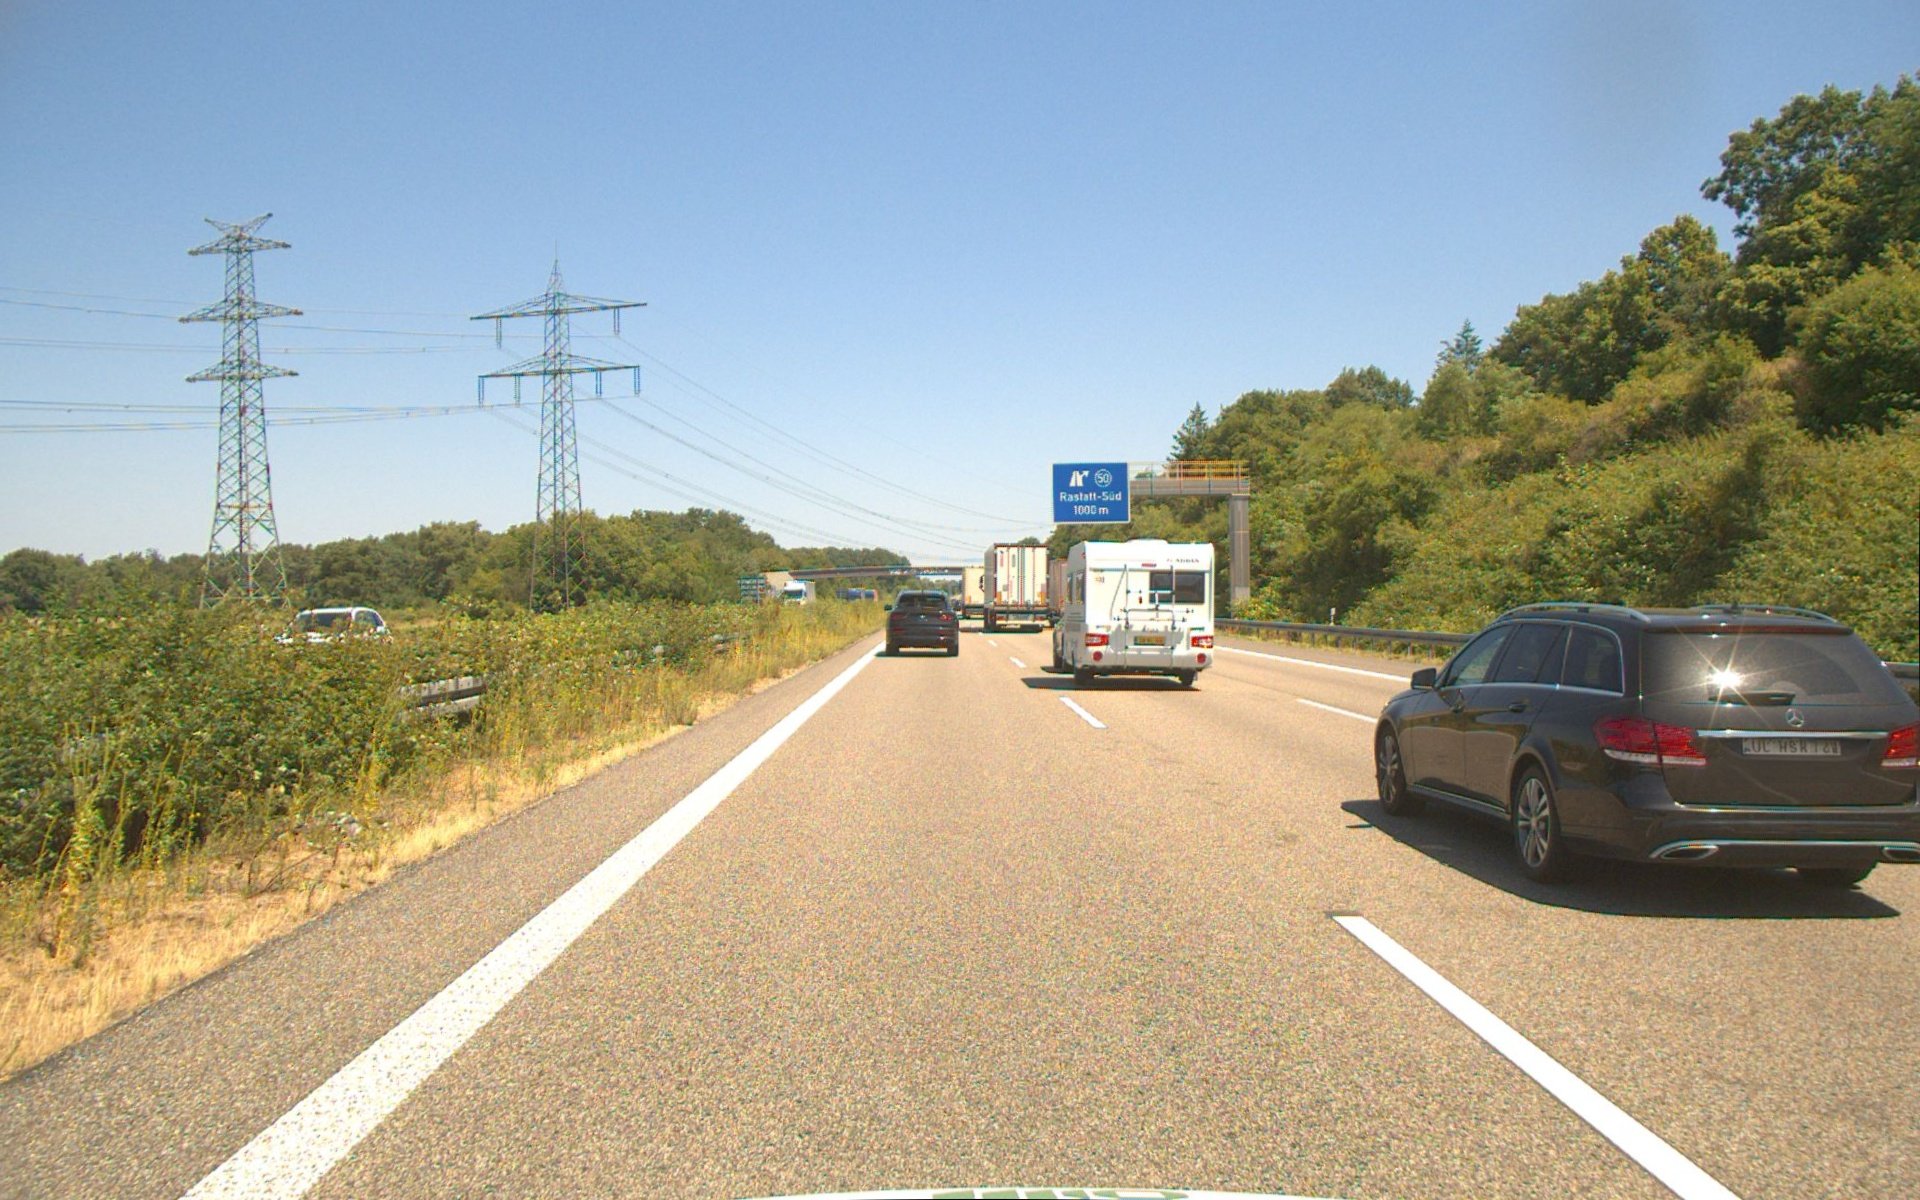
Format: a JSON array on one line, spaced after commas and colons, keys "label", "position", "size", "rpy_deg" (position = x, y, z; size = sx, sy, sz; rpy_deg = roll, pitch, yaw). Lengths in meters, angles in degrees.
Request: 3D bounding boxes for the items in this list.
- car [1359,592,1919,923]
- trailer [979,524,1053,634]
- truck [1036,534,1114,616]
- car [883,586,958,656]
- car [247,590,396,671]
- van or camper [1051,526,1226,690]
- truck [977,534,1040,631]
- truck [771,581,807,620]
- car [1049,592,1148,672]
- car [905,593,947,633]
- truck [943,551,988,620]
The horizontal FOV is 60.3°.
[{"label": "car", "position": [4.002, 0.730, 10.198], "size": [1.804, 1.532, 4.736], "rpy_deg": [-1, 0, -2]}, {"label": "trailer", "position": [2.610, -0.919, 81.189], "size": [3.024, 4.970, 12.256], "rpy_deg": [1, 0, -1]}, {"label": "truck", "position": [6.443, -1.296, 94.618], "size": [3.498, 4.319, 11.650], "rpy_deg": [1, 0, -1]}, {"label": "car", "position": [-1.081, 0.540, 44.955], "size": [1.953, 1.803, 3.999], "rpy_deg": [0, 0, -2]}, {"label": "car", "position": [-14.103, 0.631, 36.751], "size": [1.804, 1.680, 4.012], "rpy_deg": [1, 0, -1]}, {"label": "van or camper", "position": [3.160, 0.127, 30.852], "size": [2.390, 2.721, 6.347], "rpy_deg": [0, 0, -2]}, {"label": "truck", "position": [2.528, -0.878, 88.160], "size": [3.024, 4.970, 6.596], "rpy_deg": [1, 0, -1]}, {"label": "truck", "position": [-20.213, 0.056, 196.224], "size": [3.298, 4.485, 6.557], "rpy_deg": [-2, 0, 1]}, {"label": "car", "position": [2.978, 0.653, 36.397], "size": [1.840, 1.640, 4.702], "rpy_deg": [0, 0, 1]}, {"label": "car", "position": [-1.625, 0.588, 78.213], "size": [1.922, 1.846, 4.447], "rpy_deg": [0, 0, -2]}, {"label": "truck", "position": [0.388, -1.111, 132.982], "size": [3.440, 5.257, 10.257], "rpy_deg": [1, 0, -1]}]
